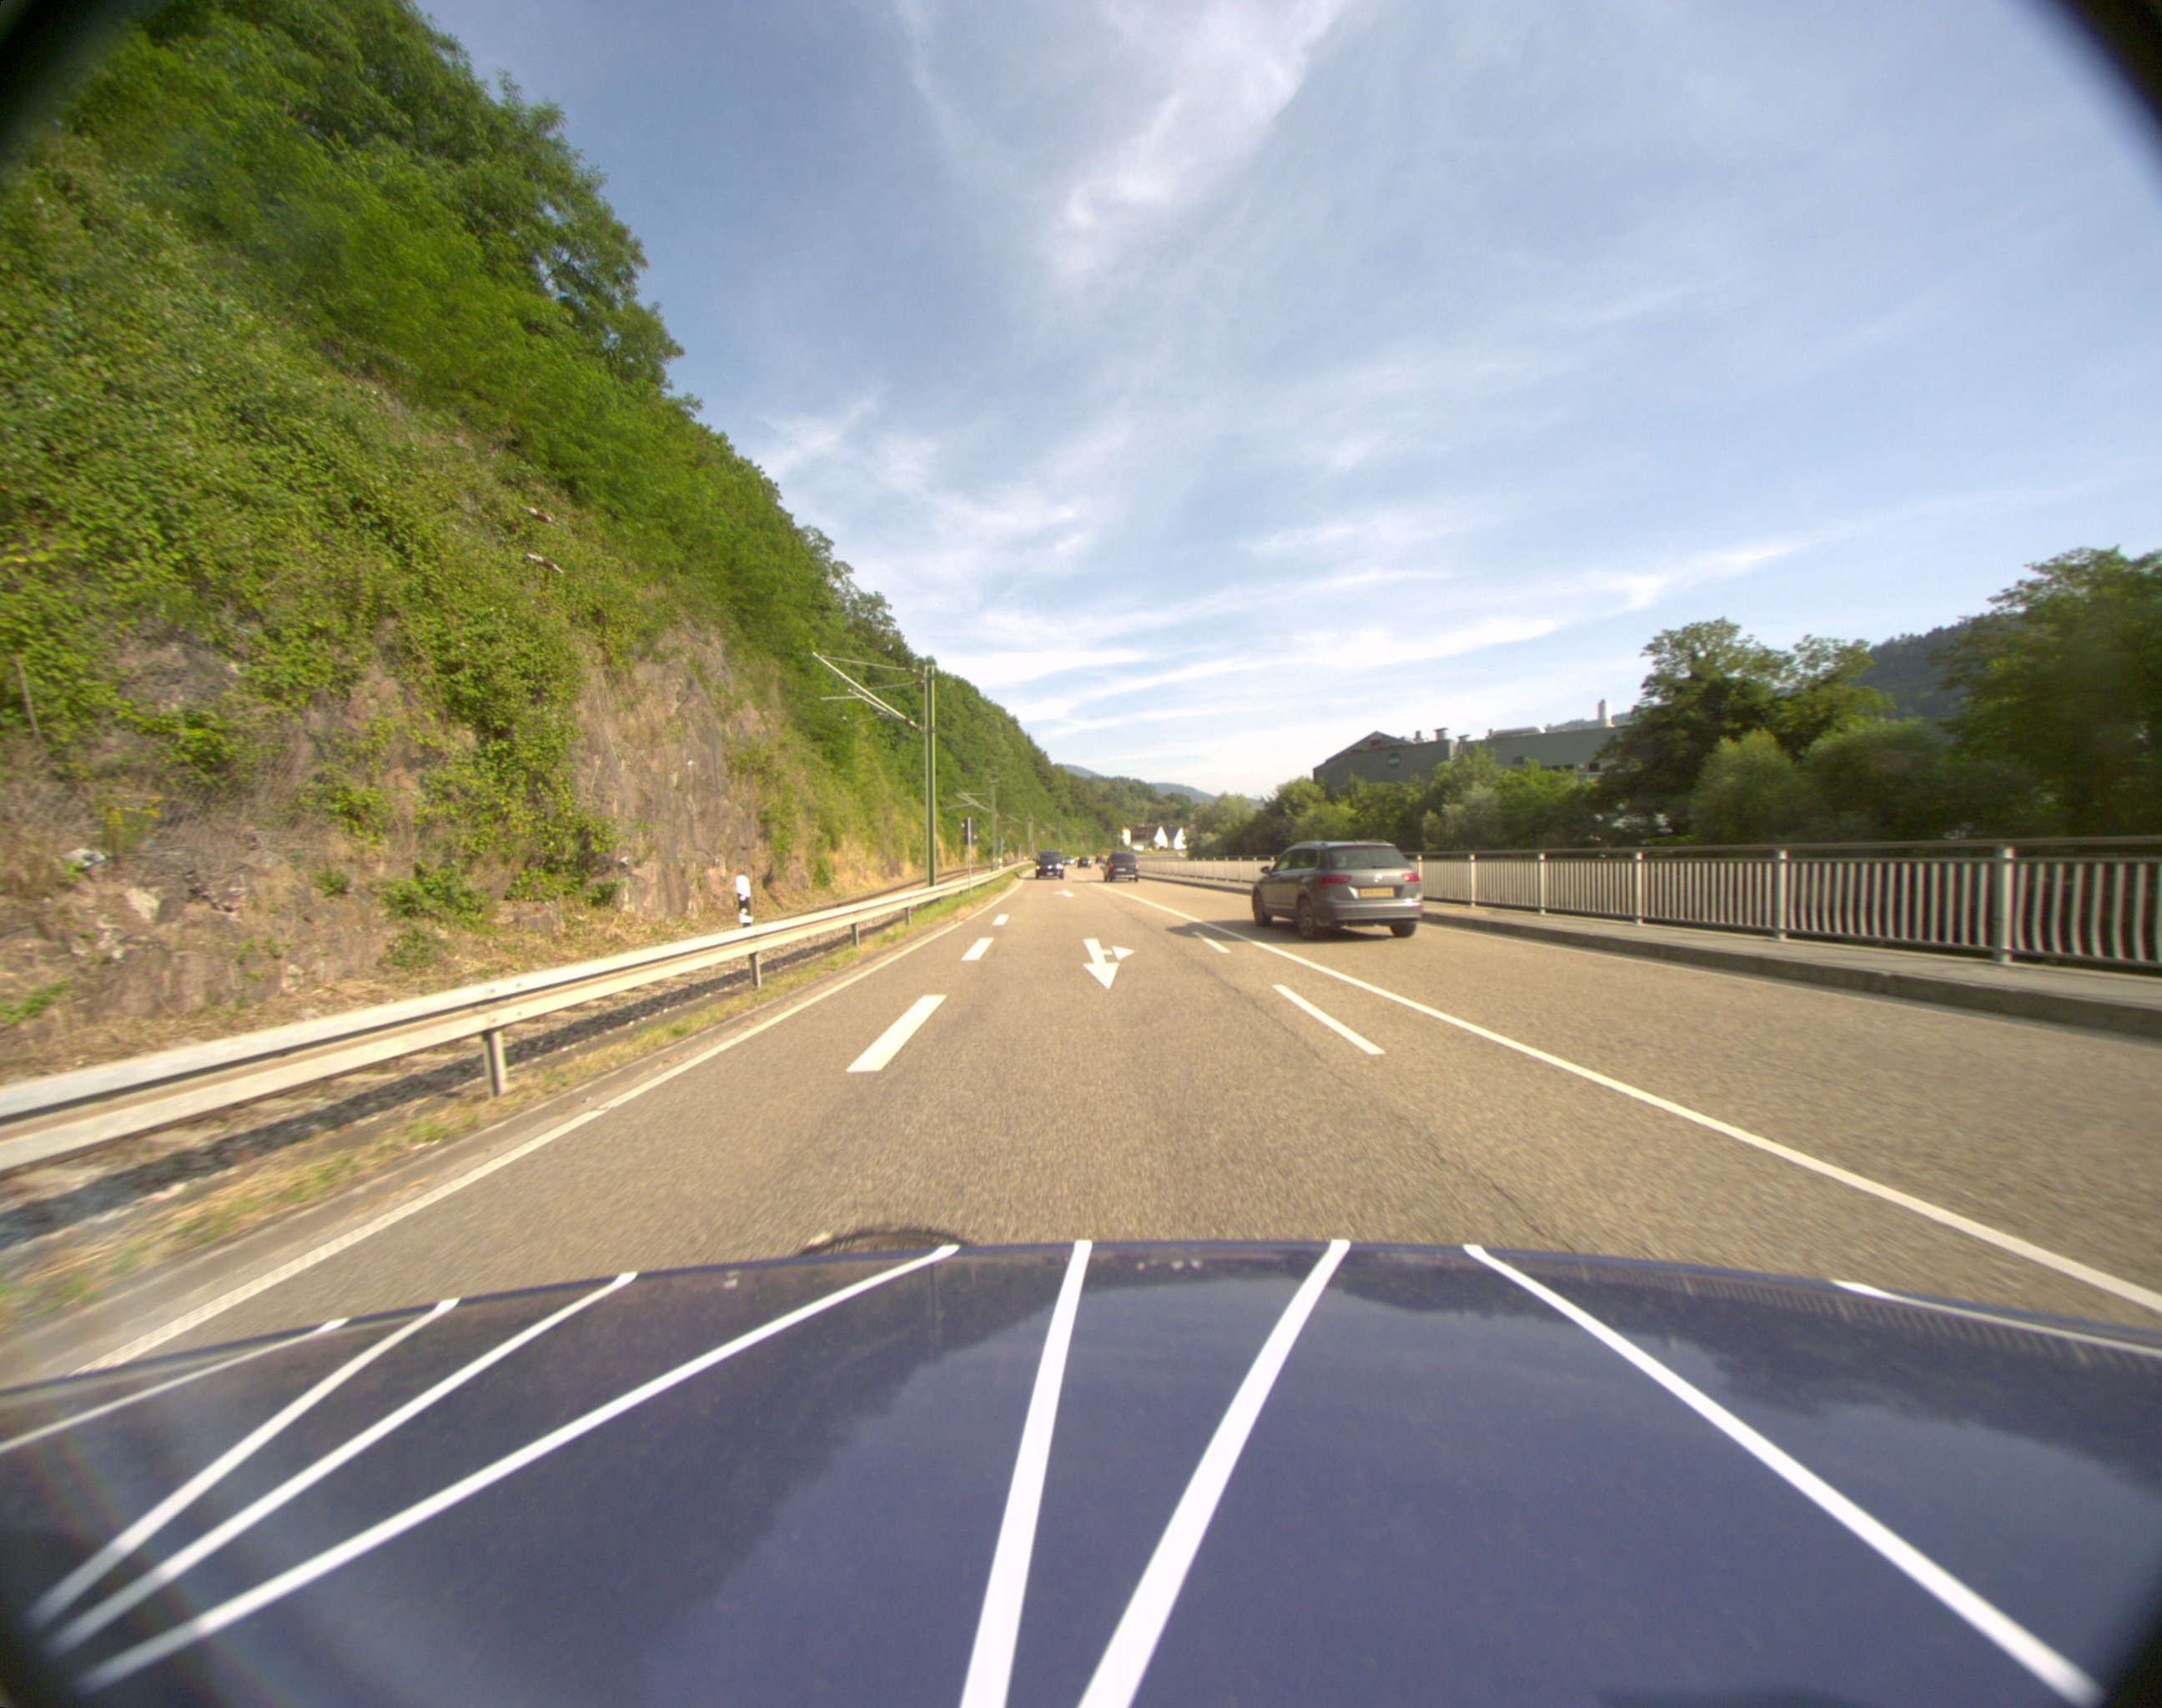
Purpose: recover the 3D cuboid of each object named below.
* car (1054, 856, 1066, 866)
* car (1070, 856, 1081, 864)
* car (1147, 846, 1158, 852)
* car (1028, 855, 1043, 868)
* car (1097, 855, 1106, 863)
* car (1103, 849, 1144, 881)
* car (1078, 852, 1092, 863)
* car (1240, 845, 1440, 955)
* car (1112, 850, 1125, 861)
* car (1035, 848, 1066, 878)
[{"bbox_3d":[-3.147,1.112,114.946,1.652,1.424,3.331,2,0,-2],"label":"car"},{"bbox_3d":[-0.931,1.053,131.991,1.764,1.304,3.749,-2,0,2],"label":"car"},{"bbox_3d":[22.856,-1.697,242.279,1.994,1.671,4.008,3,0,27],"label":"car"},{"bbox_3d":[-5.412,0.911,90.275,1.768,1.452,3.574,0,1,-4],"label":"car"},{"bbox_3d":[4.004,0.988,148.227,1.707,1.423,4.075,1,1,3],"label":"car"},{"bbox_3d":[2.471,0.610,45.653,1.797,1.817,4.826,-1,0,-5],"label":"car"},{"bbox_3d":[0.536,0.487,99.968,1.725,1.427,4.339,0,0,0],"label":"car"},{"bbox_3d":[4.433,0.694,13.864,1.822,1.637,4.610,-1,0,-4],"label":"car"},{"bbox_3d":[9.138,0.363,183.661,2.162,2.517,6.583,1,0,10],"label":"car"},{"bbox_3d":[-2.089,0.619,52.207,1.909,1.868,4.347,-4,-1,-2],"label":"car"}]
